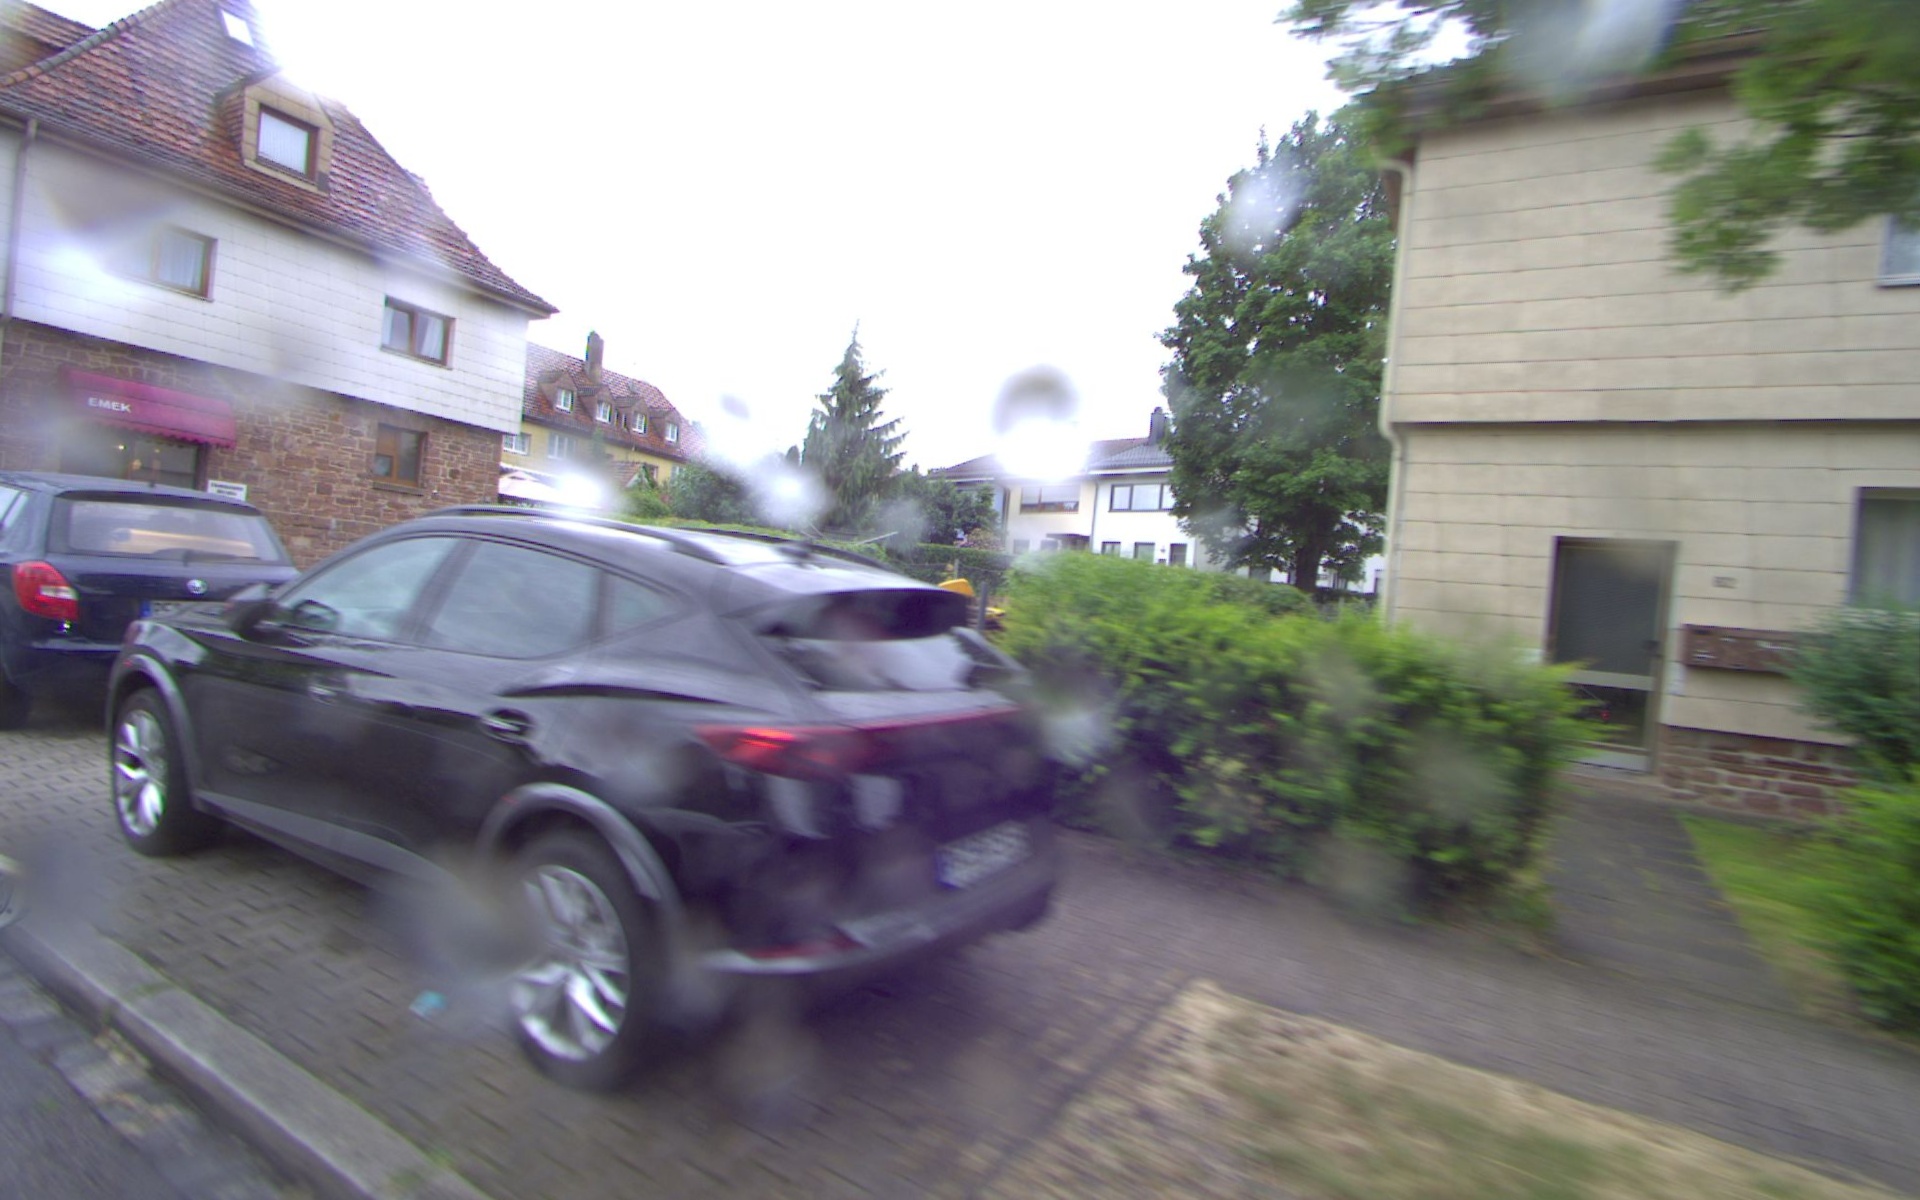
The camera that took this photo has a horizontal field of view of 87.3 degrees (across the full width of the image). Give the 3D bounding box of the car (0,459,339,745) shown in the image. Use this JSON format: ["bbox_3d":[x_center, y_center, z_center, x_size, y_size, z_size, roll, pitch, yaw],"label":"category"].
[{"bbox_3d":[-6.145,-0.173,6.973,3.792,1.492,1.604,8,4,32],"label":"car"}]

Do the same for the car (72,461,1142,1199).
[{"bbox_3d":[-1.604,0.408,3.967,4.114,1.519,1.714,7,3,32],"label":"car"}]
